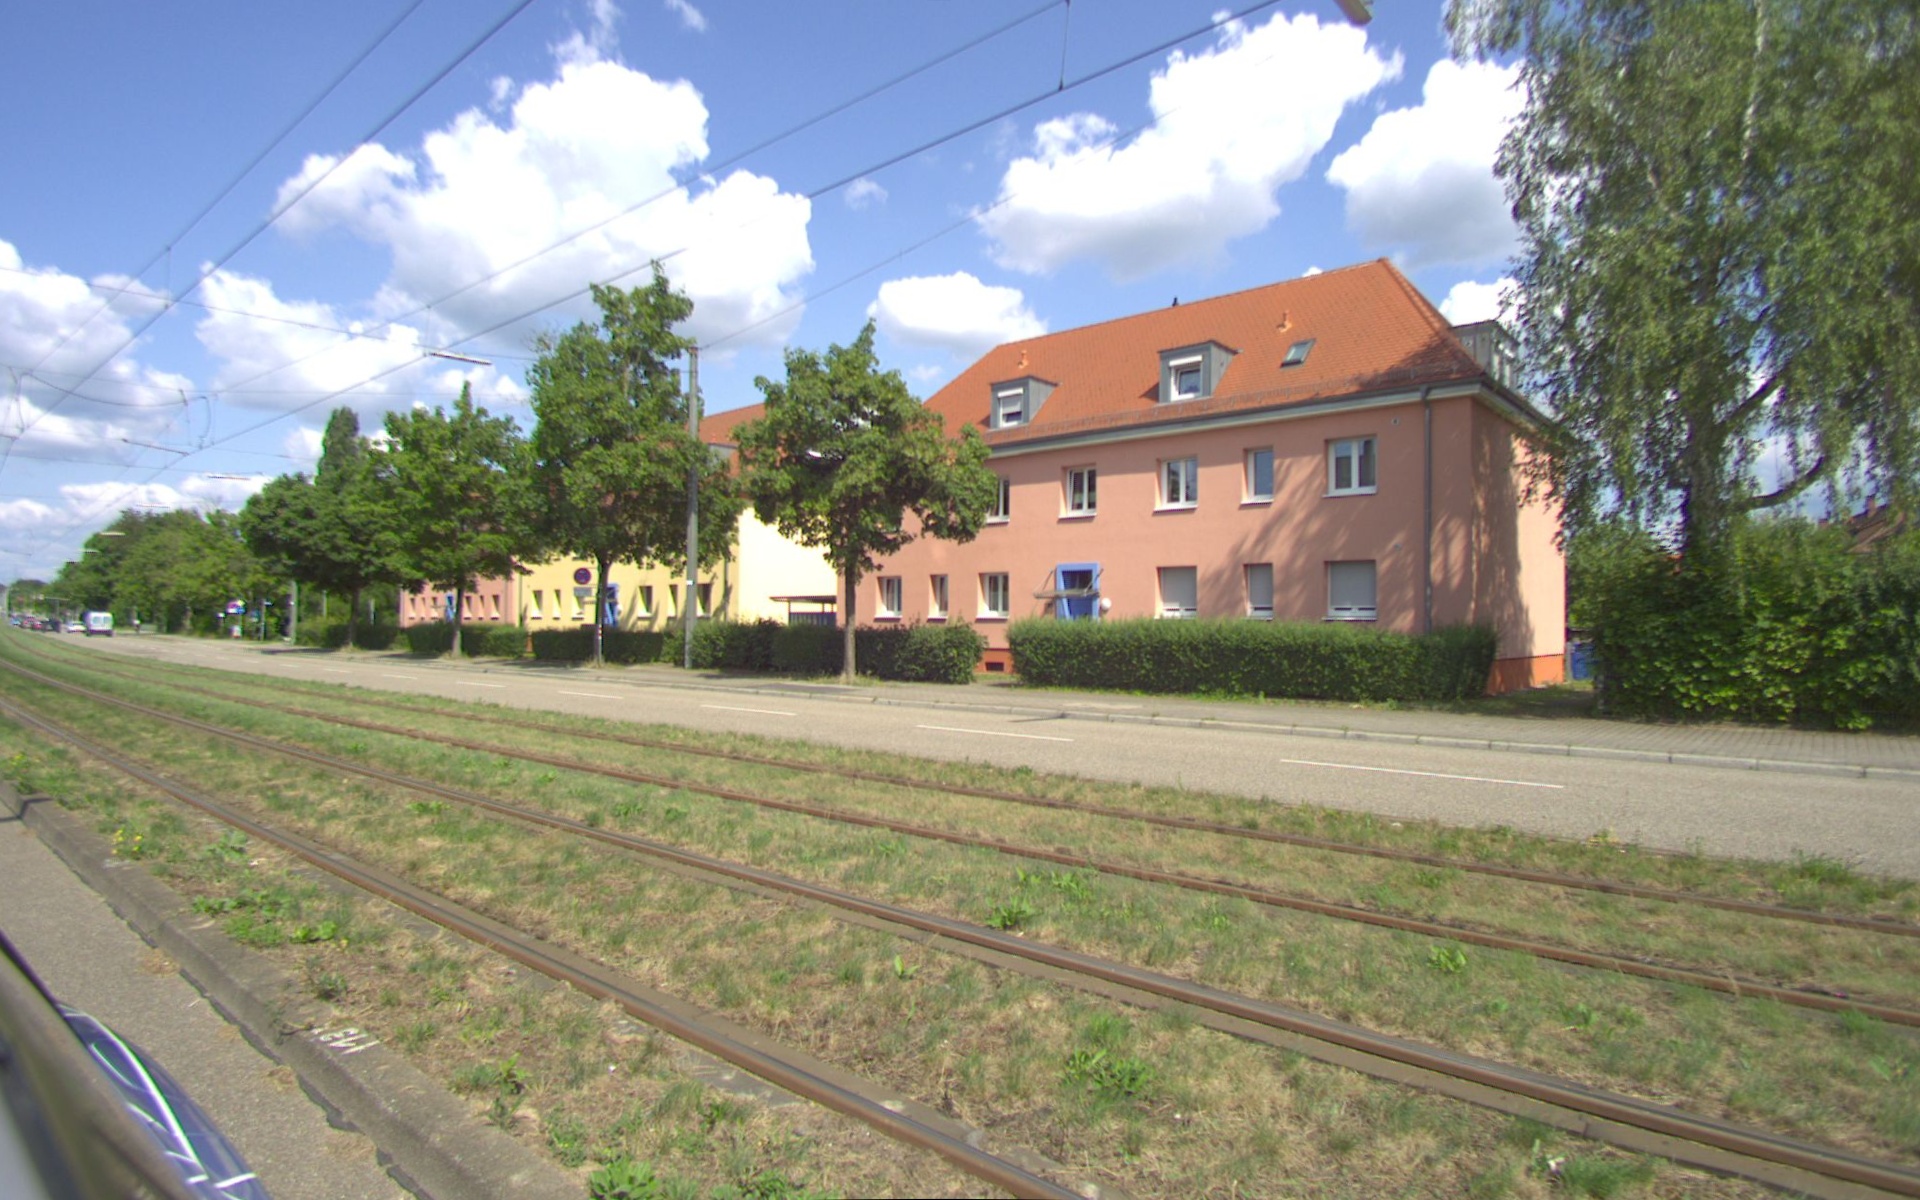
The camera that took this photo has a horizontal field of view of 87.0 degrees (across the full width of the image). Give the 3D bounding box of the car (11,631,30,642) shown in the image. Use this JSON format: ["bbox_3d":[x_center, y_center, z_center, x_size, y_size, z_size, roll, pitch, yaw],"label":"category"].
[{"bbox_3d":[-151.483,5.883,163.137,2.091,1.664,4.280,2,-2,-44],"label":"car"}]

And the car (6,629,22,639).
[{"bbox_3d":[-171.836,6.173,183.812,2.091,1.664,4.280,2,-2,-44],"label":"car"}]

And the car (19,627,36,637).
[{"bbox_3d":[-138.402,4.711,150.178,1.707,1.405,4.280,2,-2,-44],"label":"car"}]

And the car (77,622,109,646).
[{"bbox_3d":[-91.985,3.642,107.343,2.009,2.455,5.780,4,-4,-45],"label":"car"}]

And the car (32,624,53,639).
[{"bbox_3d":[-113.750,3.921,125.418,4.230,1.760,1.666,-2,-2,45],"label":"car"}]

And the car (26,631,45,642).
[{"bbox_3d":[-128.238,5.066,140.357,4.277,1.591,1.708,-2,-2,44],"label":"car"}]

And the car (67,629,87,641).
[{"bbox_3d":[-114.483,4.538,131.205,4.279,1.442,1.666,-2,-2,45],"label":"car"}]
